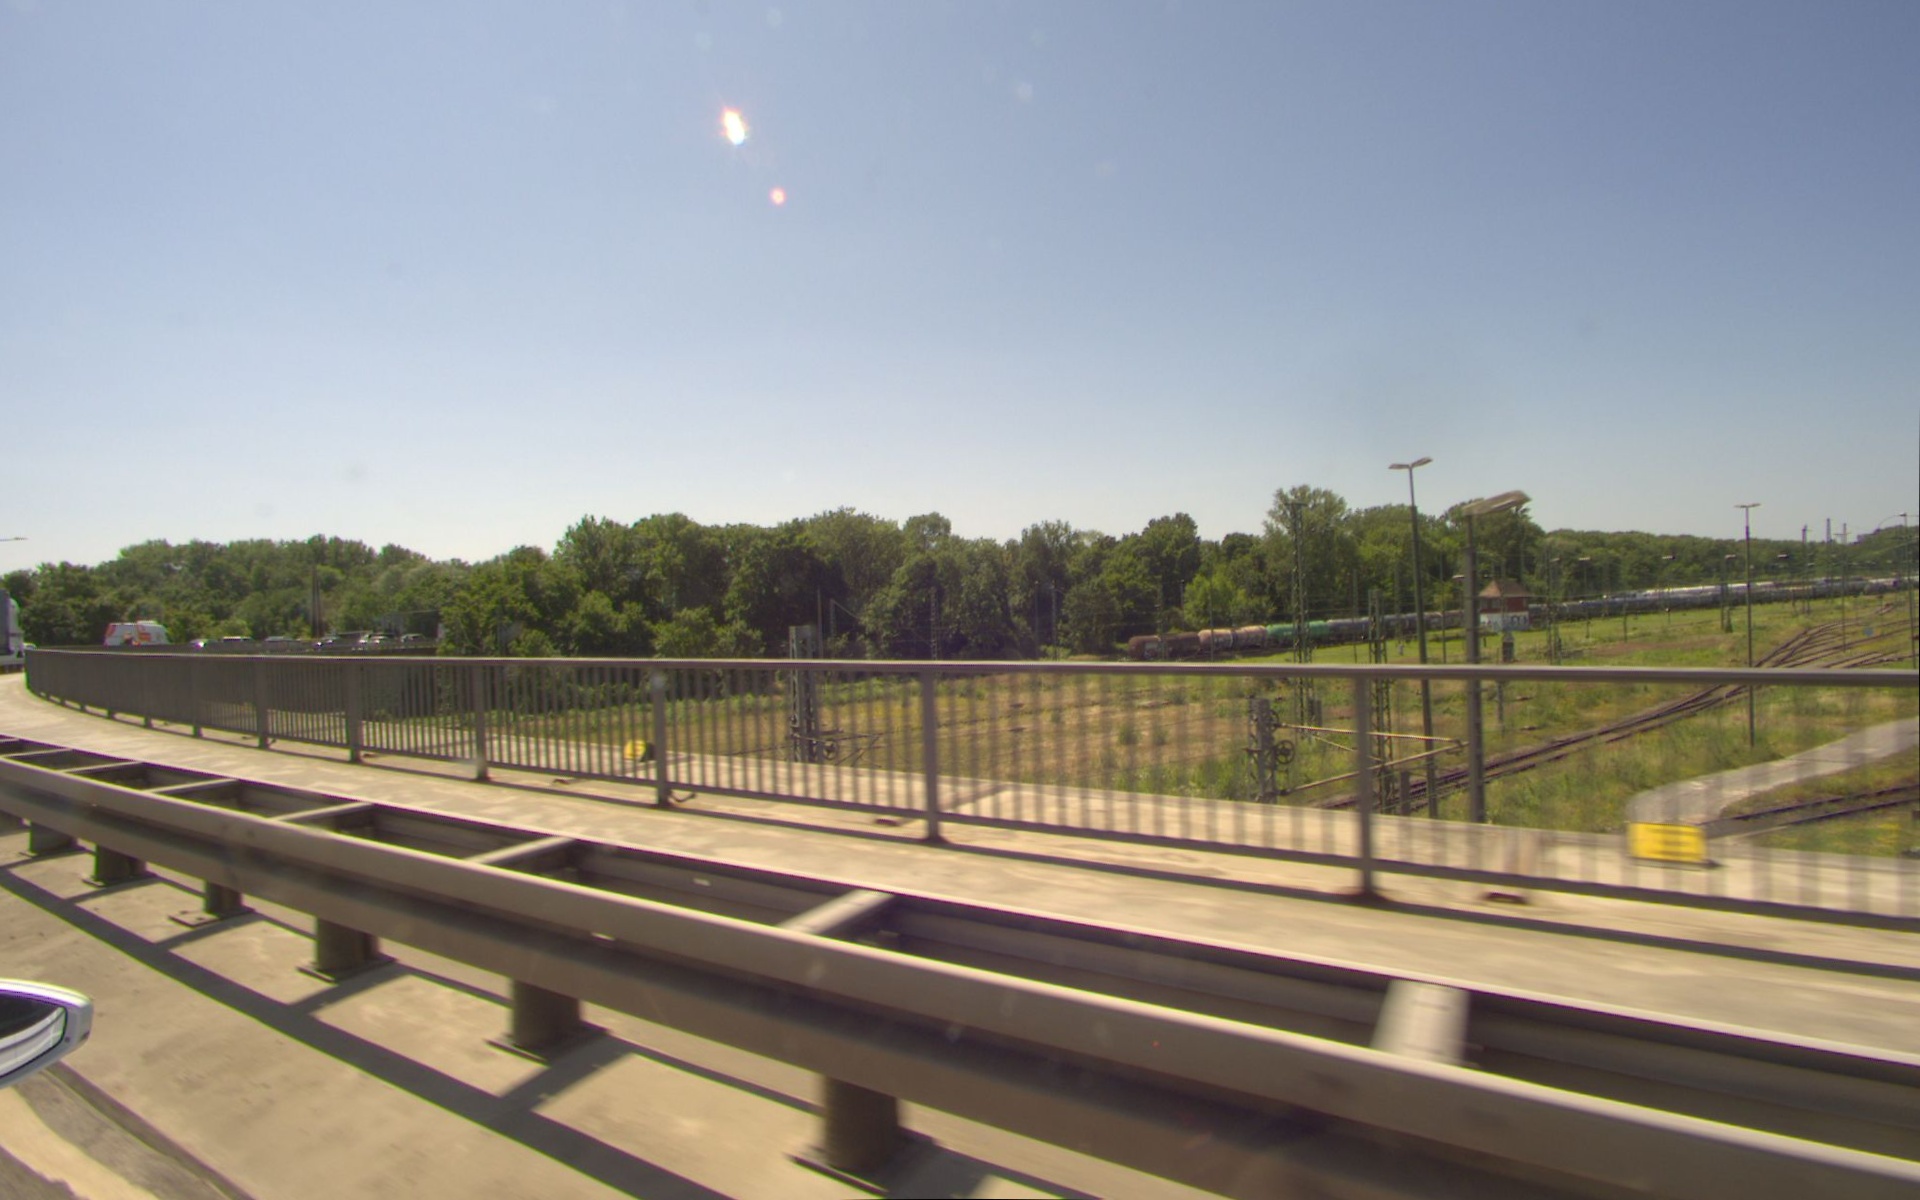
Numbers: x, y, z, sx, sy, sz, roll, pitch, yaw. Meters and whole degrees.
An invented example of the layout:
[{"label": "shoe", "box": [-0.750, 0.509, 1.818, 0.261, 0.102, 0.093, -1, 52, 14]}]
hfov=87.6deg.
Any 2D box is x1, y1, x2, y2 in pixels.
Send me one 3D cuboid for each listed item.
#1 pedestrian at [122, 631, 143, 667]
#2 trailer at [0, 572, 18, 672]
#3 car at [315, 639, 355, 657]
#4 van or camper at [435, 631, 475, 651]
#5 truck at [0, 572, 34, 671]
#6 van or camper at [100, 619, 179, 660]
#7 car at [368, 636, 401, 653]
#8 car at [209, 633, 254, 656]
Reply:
[{"label": "pedestrian", "box": [-46.721, 2.775, 56.546, 0.728, 1.992, 0.731, 0, -2, -28]}, {"label": "trailer", "box": [-44.391, 0.864, 43.297, 3.103, 4.672, 12.871, 1, -3, -34]}, {"label": "car", "box": [-65.424, 5.025, 104.877, 1.858, 1.873, 4.002, -1, -2, -3]}, {"label": "van or camper", "box": [-69.558, 5.679, 138.013, 2.444, 2.318, 4.968, 4, -5, 4]}, {"label": "truck", "box": [-48.175, 1.132, 48.984, 3.140, 4.642, 7.351, 0, -2, -35]}, {"label": "van or camper", "box": [-57.794, 2.757, 70.698, 2.171, 2.746, 5.917, 0, -1, -16]}, {"label": "car", "box": [-66.229, 5.092, 115.220, 1.858, 1.873, 4.001, -1, -2, -7]}, {"label": "car", "box": [-62.271, 3.828, 85.661, 1.861, 1.873, 3.996, 0, -2, -16]}]
